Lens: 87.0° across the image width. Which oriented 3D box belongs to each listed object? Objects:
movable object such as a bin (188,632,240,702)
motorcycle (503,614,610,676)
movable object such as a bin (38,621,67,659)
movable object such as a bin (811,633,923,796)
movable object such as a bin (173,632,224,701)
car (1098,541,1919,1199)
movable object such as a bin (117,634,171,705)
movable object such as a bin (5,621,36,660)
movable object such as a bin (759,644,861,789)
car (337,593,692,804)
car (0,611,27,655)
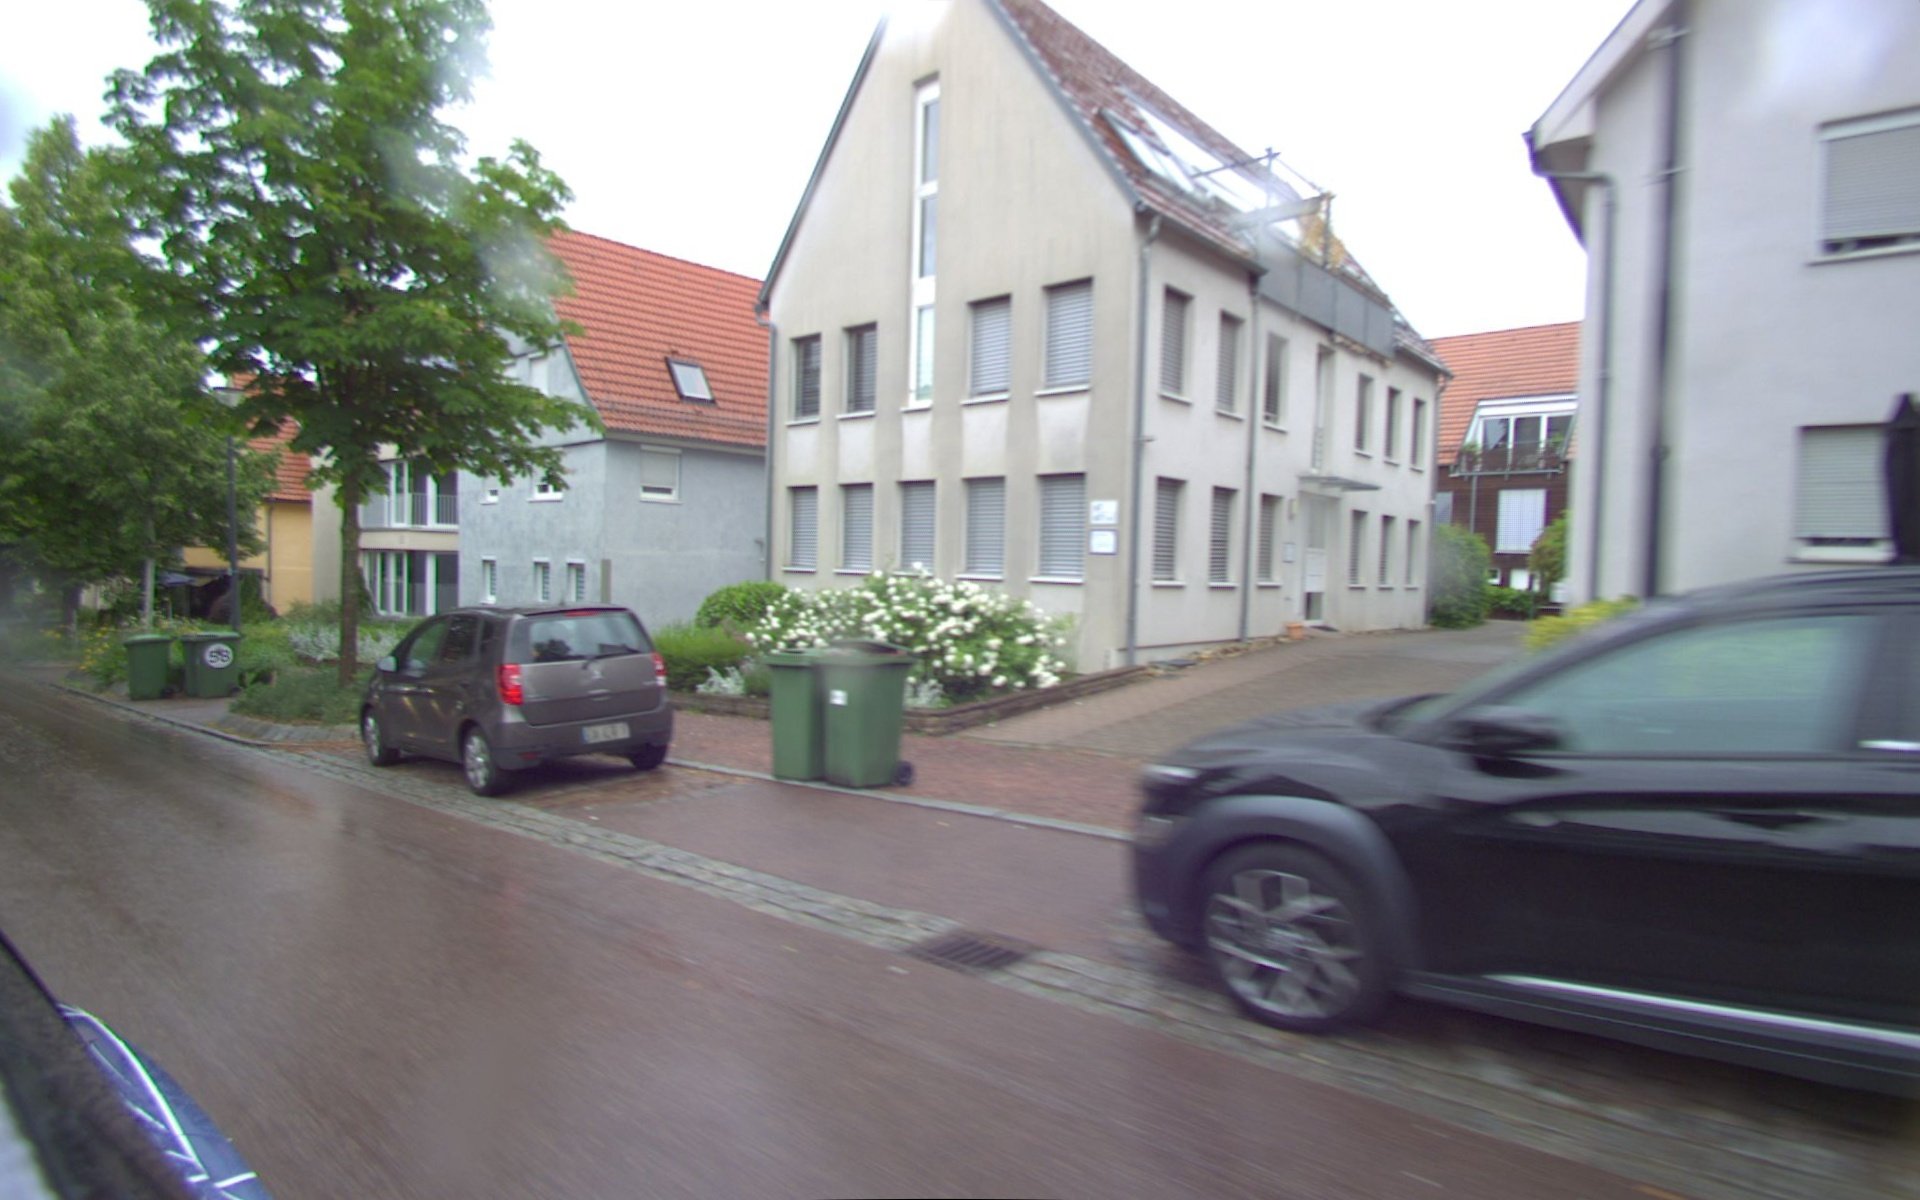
[{"bbox_3d":[-12.370,1.096,16.774,0.564,1.119,0.604,-2,-1,43],"label":"movable object such as a bin"},{"bbox_3d":[-8.666,0.936,21.806,0.817,1.170,1.962,0,2,41],"label":"motorcycle"},{"bbox_3d":[-26.963,1.185,30.070,0.545,1.070,0.588,-1,1,44],"label":"movable object such as a bin"},{"bbox_3d":[-0.727,0.861,7.925,0.618,1.186,0.576,-2,-1,40],"label":"movable object such as a bin"},{"bbox_3d":[-12.873,1.112,17.109,0.564,1.119,0.604,-2,-1,43],"label":"movable object such as a bin"},{"bbox_3d":[2.631,0.613,3.211,3.996,1.565,1.754,-1,1,40],"label":"car"},{"bbox_3d":[-13.463,1.134,16.701,0.536,1.119,0.636,-2,-1,43],"label":"movable object such as a bin"},{"bbox_3d":[-27.295,1.164,29.415,0.545,1.070,0.588,-1,2,44],"label":"movable object such as a bin"},{"bbox_3d":[-1.232,0.927,8.316,0.595,1.107,0.547,-2,-1,40],"label":"movable object such as a bin"},{"bbox_3d":[-4.309,0.762,9.508,3.865,1.544,1.629,-1,1,43],"label":"car"},{"bbox_3d":[-33.059,1.123,34.263,4.544,1.399,1.753,-1,2,42],"label":"car"}]
